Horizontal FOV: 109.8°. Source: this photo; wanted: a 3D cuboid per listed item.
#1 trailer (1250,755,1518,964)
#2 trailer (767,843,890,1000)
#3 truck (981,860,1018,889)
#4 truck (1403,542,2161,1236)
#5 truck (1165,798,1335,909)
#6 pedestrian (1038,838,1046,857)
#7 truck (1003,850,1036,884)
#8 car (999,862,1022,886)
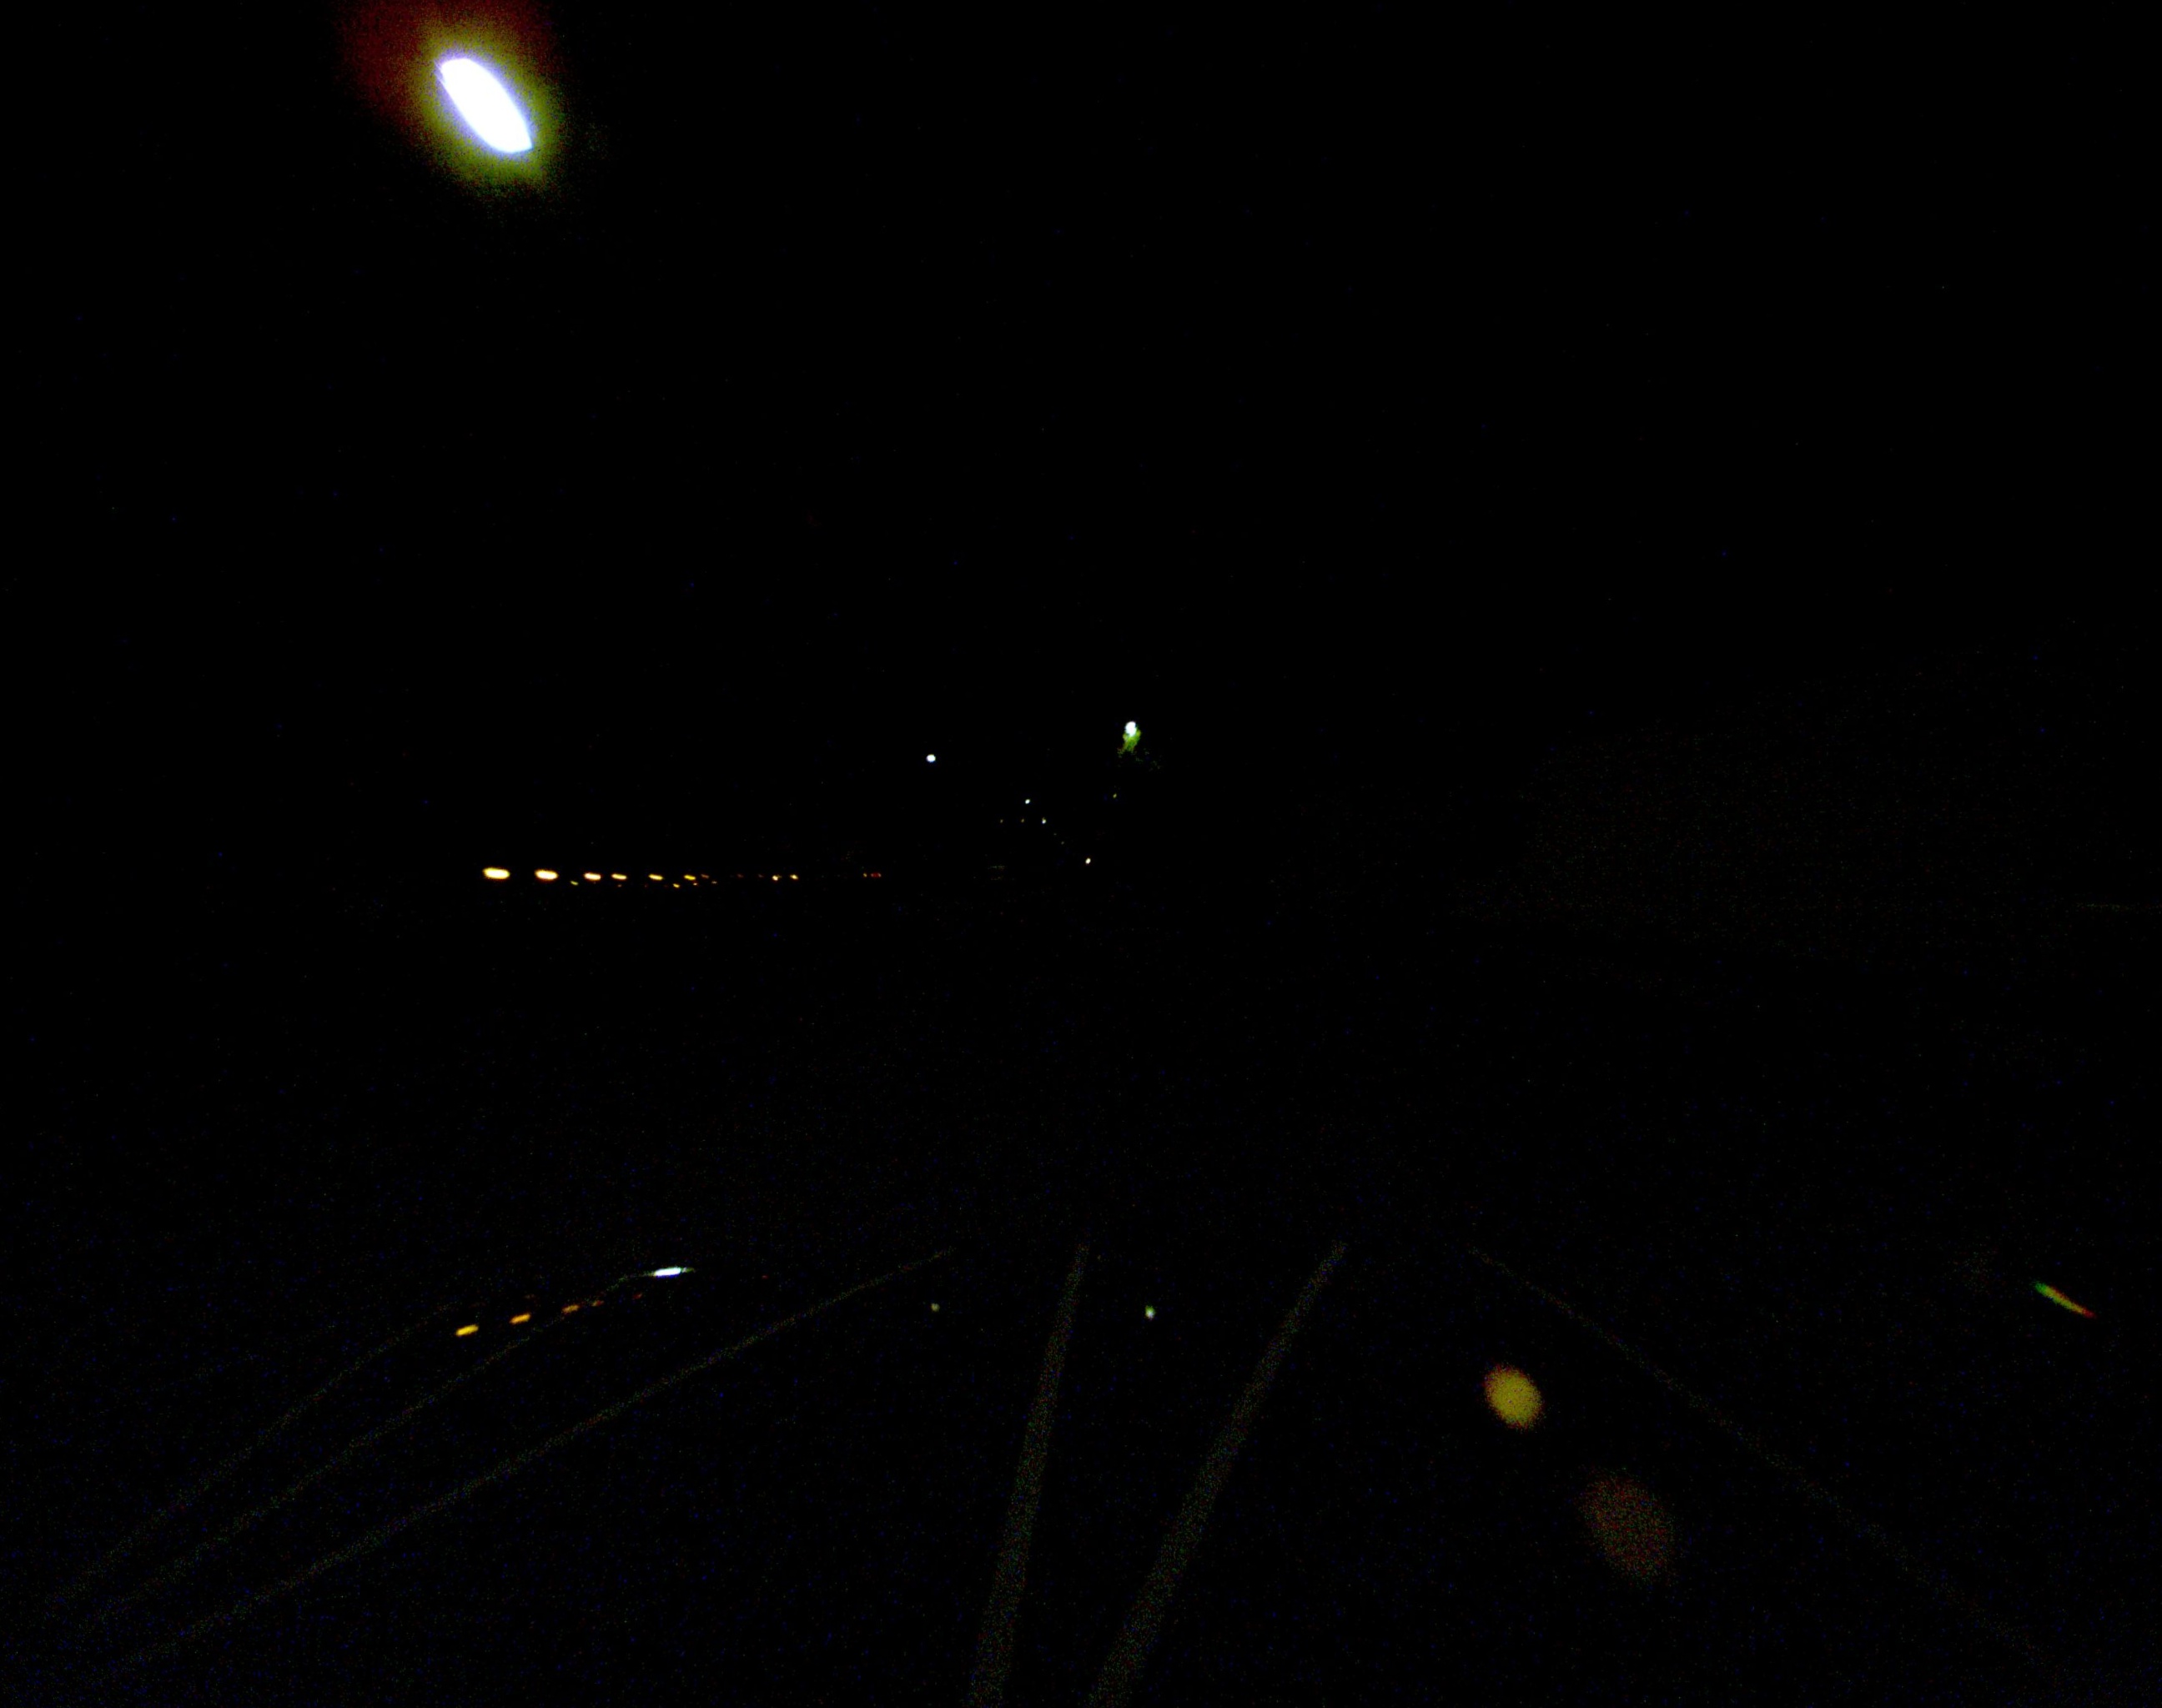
[{"bbox_3d":[5.453,0.100,15.438,2.488,3.055,7.955,-2,0,3],"label":"trailer"},{"bbox_3d":[-4.232,0.924,12.534,1.497,2.002,4.977,-2,0,-20],"label":"trailer"},{"bbox_3d":[-7.616,1.888,71.757,2.405,2.555,6.407,-2,0,2],"label":"truck"},{"bbox_3d":[5.305,0.135,6.447,1.998,2.767,7.244,-2,0,0],"label":"truck"},{"bbox_3d":[5.343,0.002,26.205,2.751,3.047,9.332,-3,0,-6],"label":"truck"},{"bbox_3d":[-9.792,-1.529,191.376,1.743,4.679,2.302,-2,0,2],"label":"pedestrian"},{"bbox_3d":[-7.121,1.488,89.329,3.056,3.601,9.600,-2,0,-1],"label":"truck"},{"bbox_3d":[-7.433,2.129,80.343,1.864,2.373,4.000,-2,0,1],"label":"car"}]
